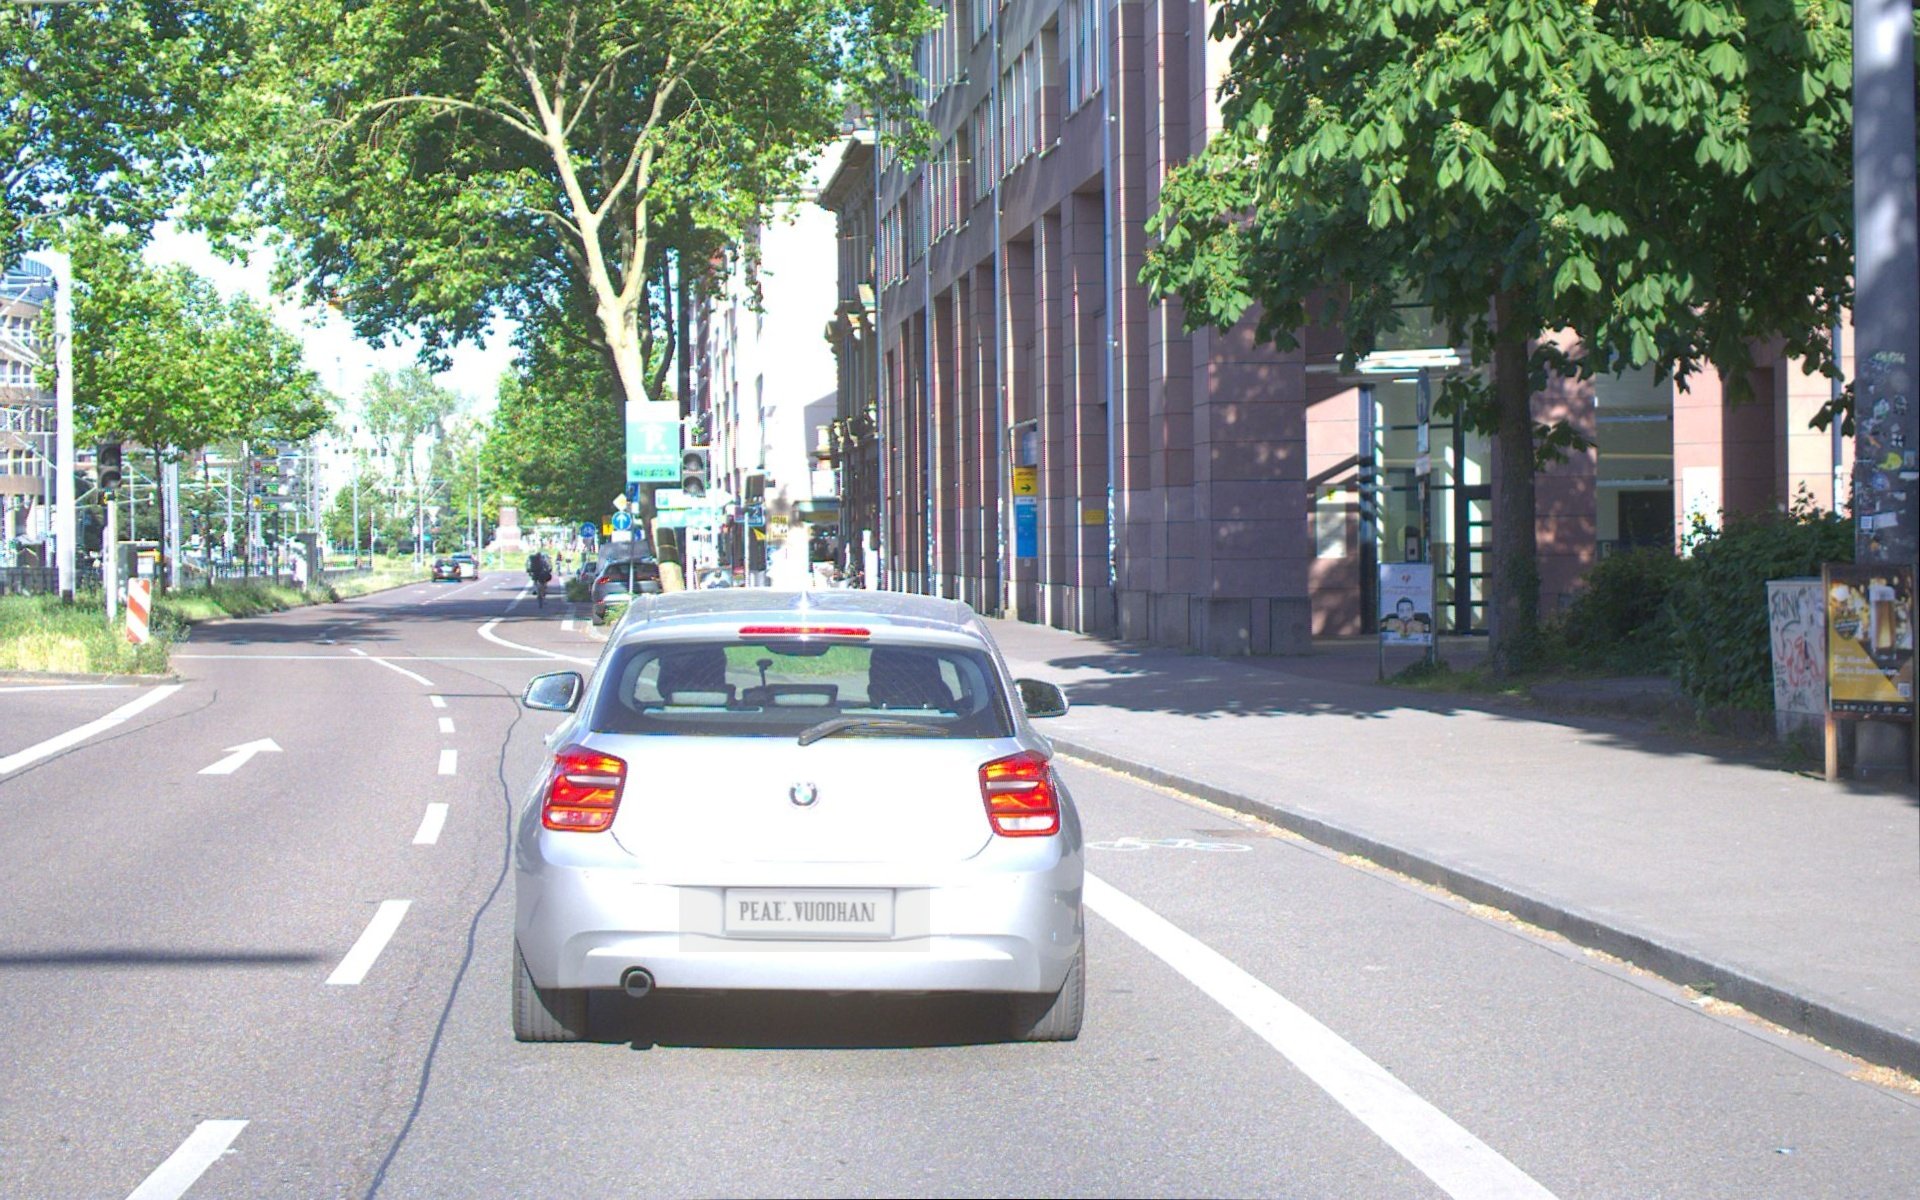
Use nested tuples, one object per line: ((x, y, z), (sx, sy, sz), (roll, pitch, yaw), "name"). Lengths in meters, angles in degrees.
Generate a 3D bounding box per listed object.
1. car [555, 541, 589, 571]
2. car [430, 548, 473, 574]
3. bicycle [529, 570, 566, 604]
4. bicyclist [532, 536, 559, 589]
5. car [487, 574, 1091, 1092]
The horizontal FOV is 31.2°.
((-27.811, -3.137, 246.425), (1.993, 2.007, 4.000), (1, 0, -1), "car")
((-30.548, -2.365, 206.546), (1.993, 1.481, 4.000), (-1, 1, 0), "car")
((-13.016, -0.416, 108.470), (0.831, 1.038, 1.874), (-2, 1, 3), "bicycle")
((-13.057, -1.188, 108.332), (0.658, 1.651, 0.765), (-2, 1, 4), "bicyclist")
((-0.454, 0.658, 11.827), (1.730, 1.385, 3.840), (1, 2, 1), "car")
